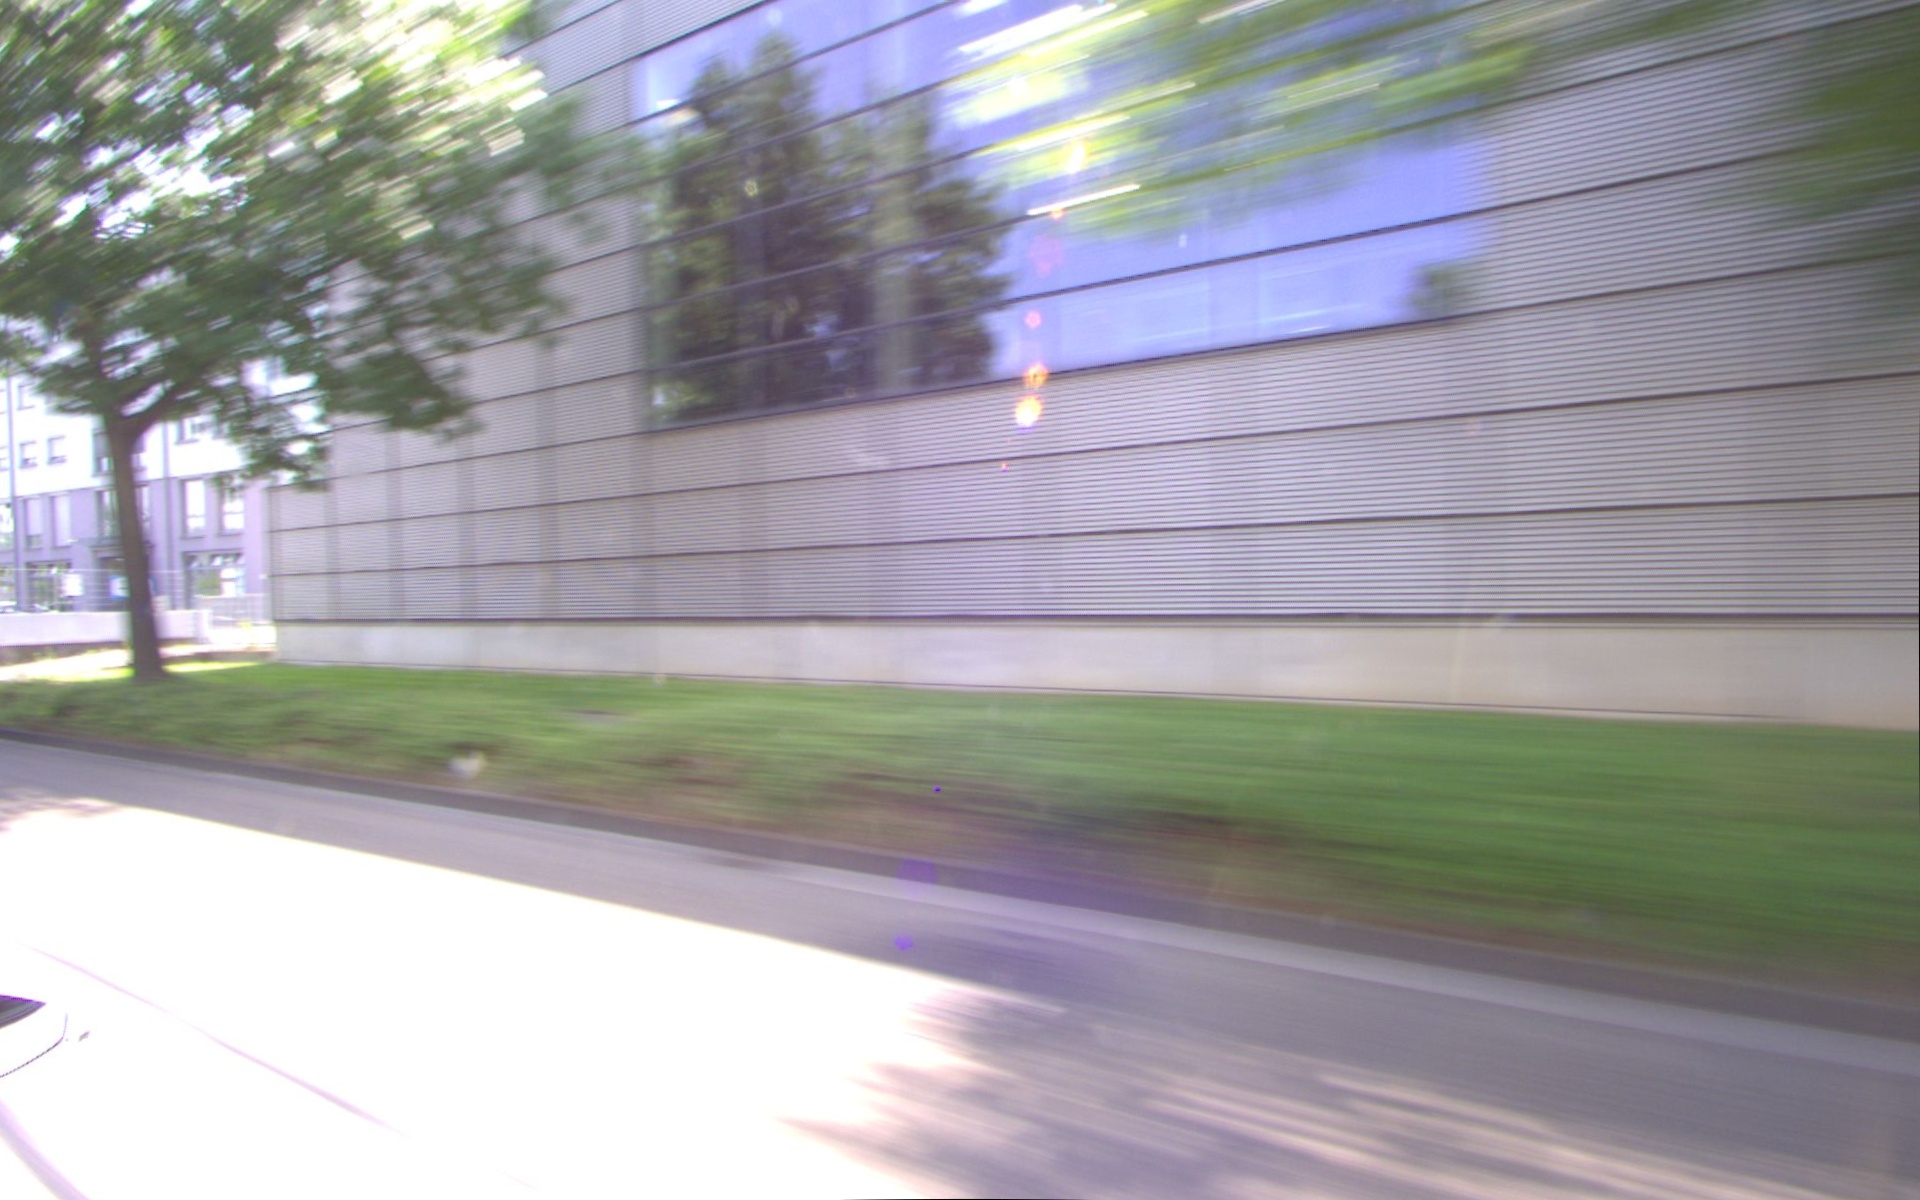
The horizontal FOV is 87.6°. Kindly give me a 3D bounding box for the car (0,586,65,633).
[{"bbox_3d":[-34.385,0.354,34.772,1.971,1.604,4.490,-1,1,31],"label":"car"}]
